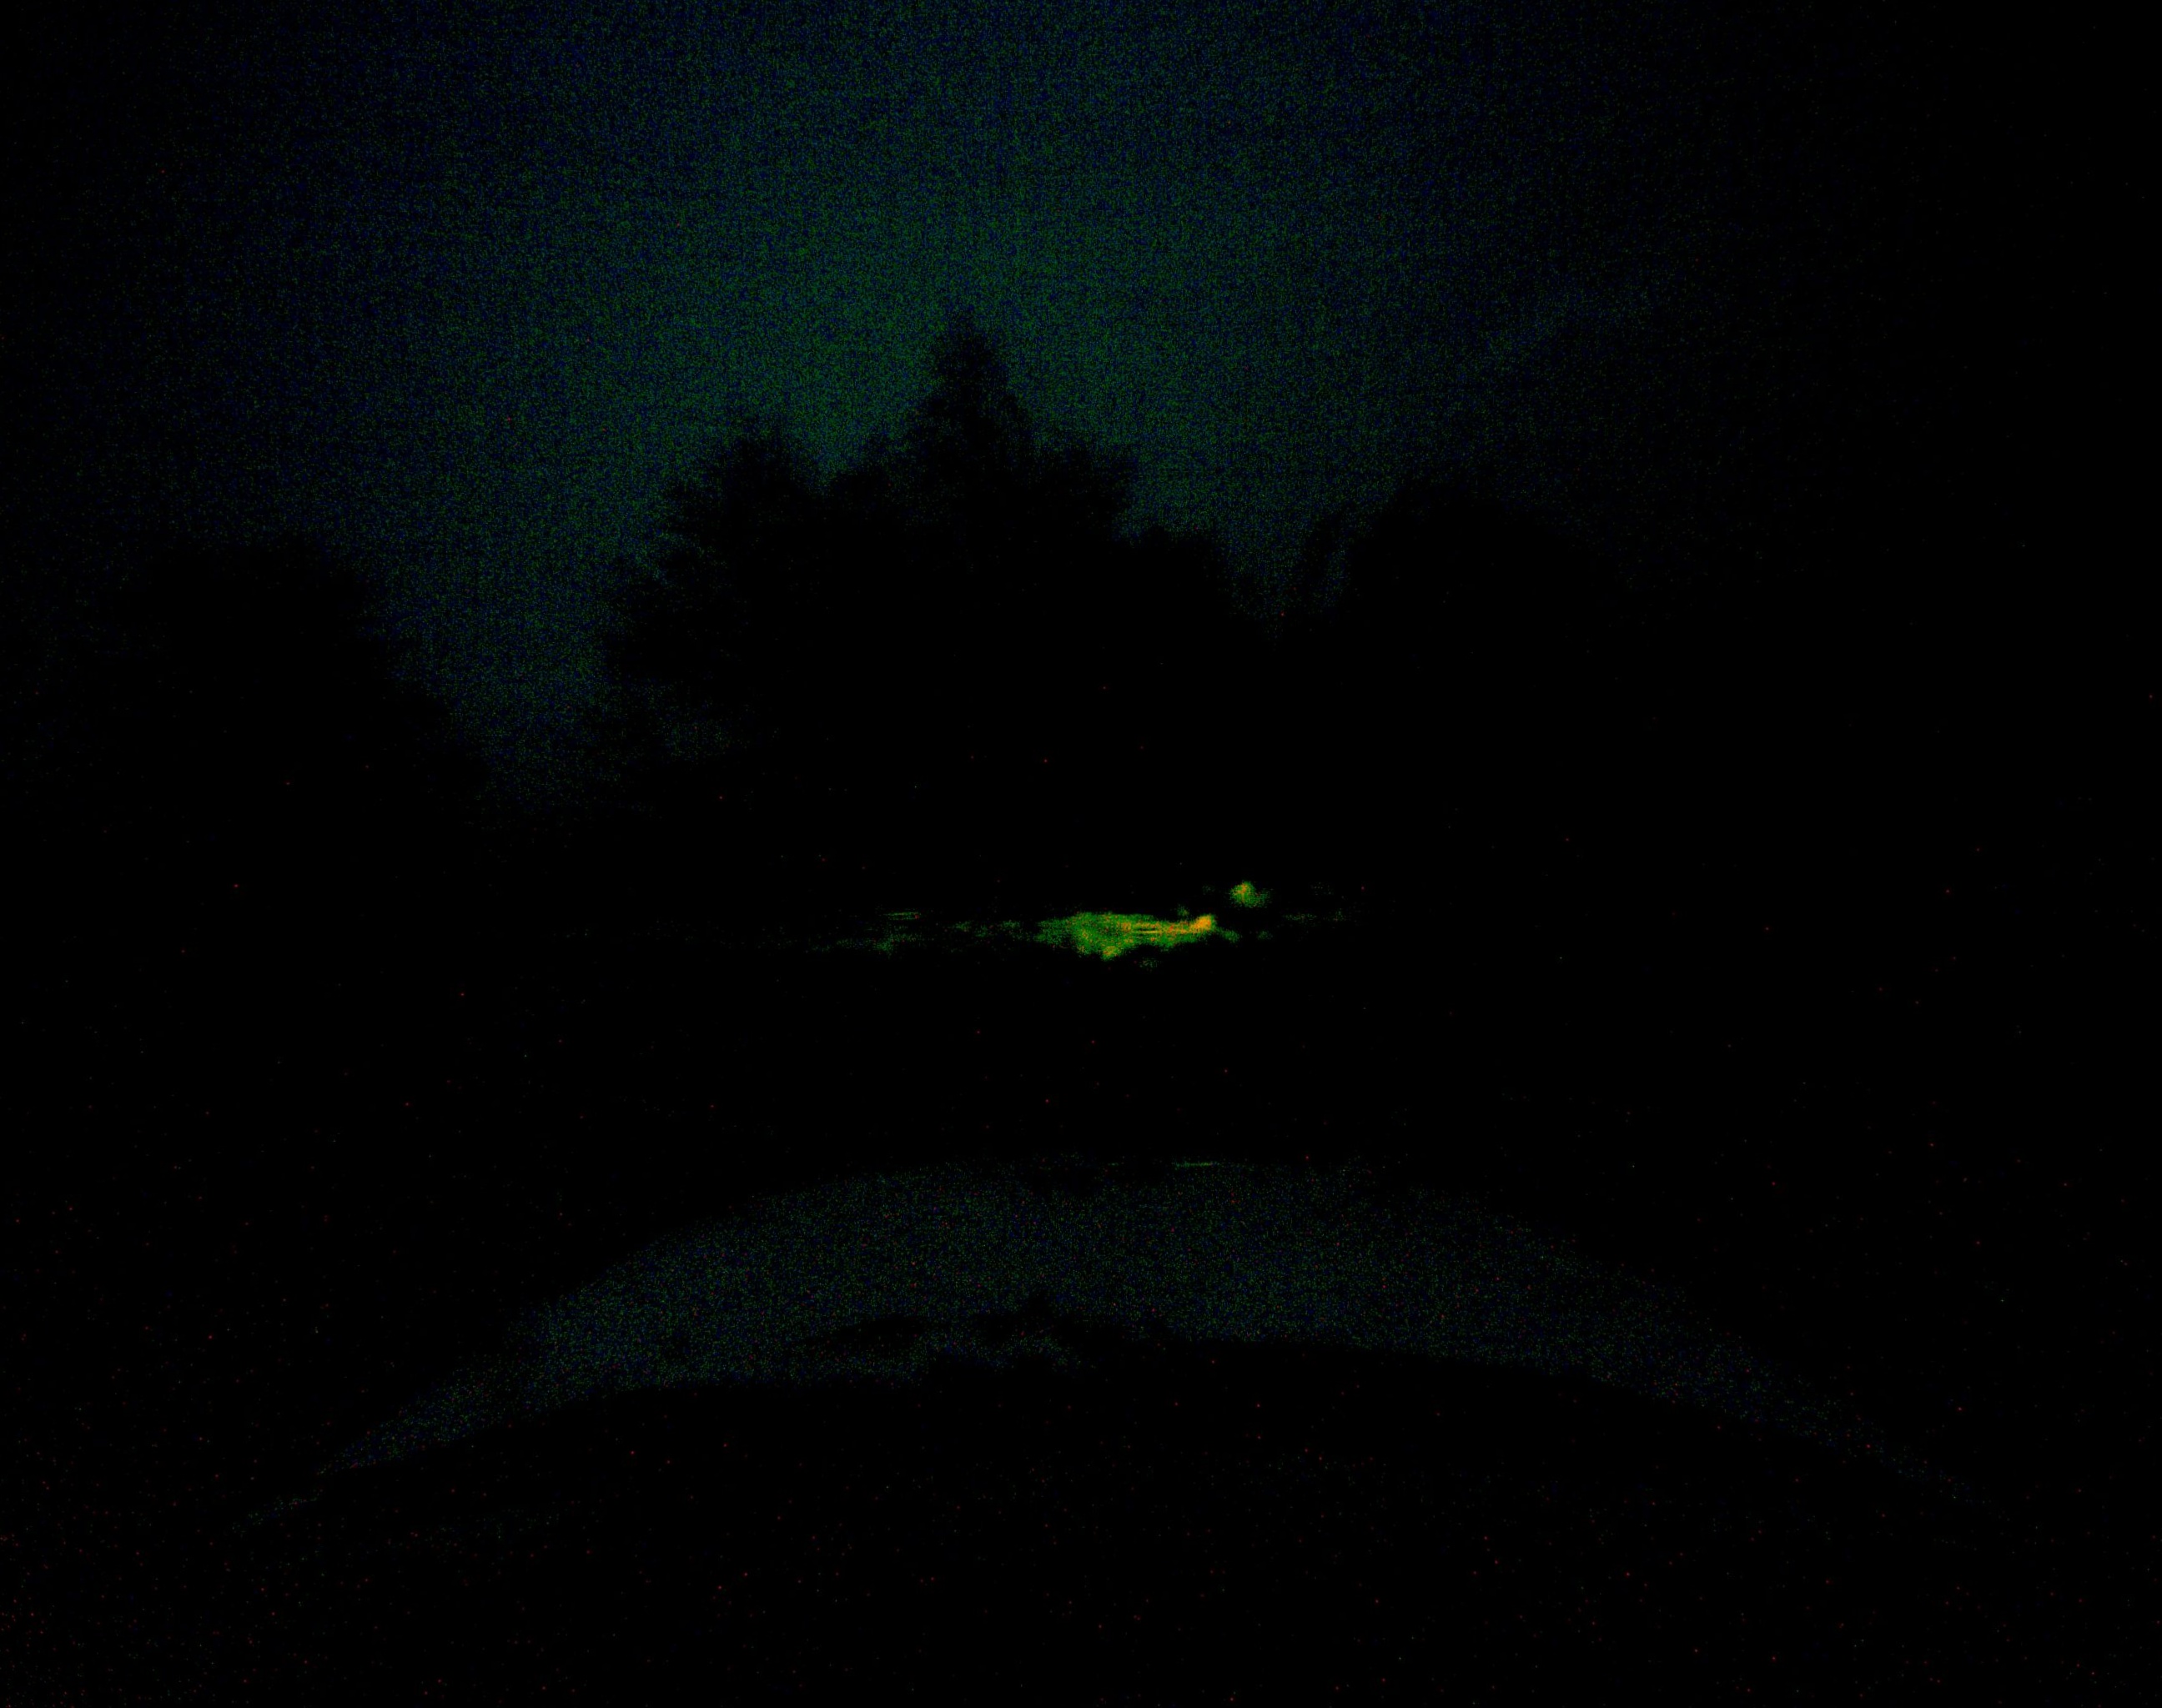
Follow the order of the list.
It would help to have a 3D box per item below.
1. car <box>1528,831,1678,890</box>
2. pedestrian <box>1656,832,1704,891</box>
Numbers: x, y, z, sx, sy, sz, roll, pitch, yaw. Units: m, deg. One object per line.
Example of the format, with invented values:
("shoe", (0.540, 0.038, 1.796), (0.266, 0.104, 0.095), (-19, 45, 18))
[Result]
("car", (17.973, 0.223, 28.168), (2.010, 1.881, 3.914), (1, -1, -39))
("pedestrian", (19.044, 0.247, 25.902), (0.929, 1.828, 0.953), (1, -1, -35))
